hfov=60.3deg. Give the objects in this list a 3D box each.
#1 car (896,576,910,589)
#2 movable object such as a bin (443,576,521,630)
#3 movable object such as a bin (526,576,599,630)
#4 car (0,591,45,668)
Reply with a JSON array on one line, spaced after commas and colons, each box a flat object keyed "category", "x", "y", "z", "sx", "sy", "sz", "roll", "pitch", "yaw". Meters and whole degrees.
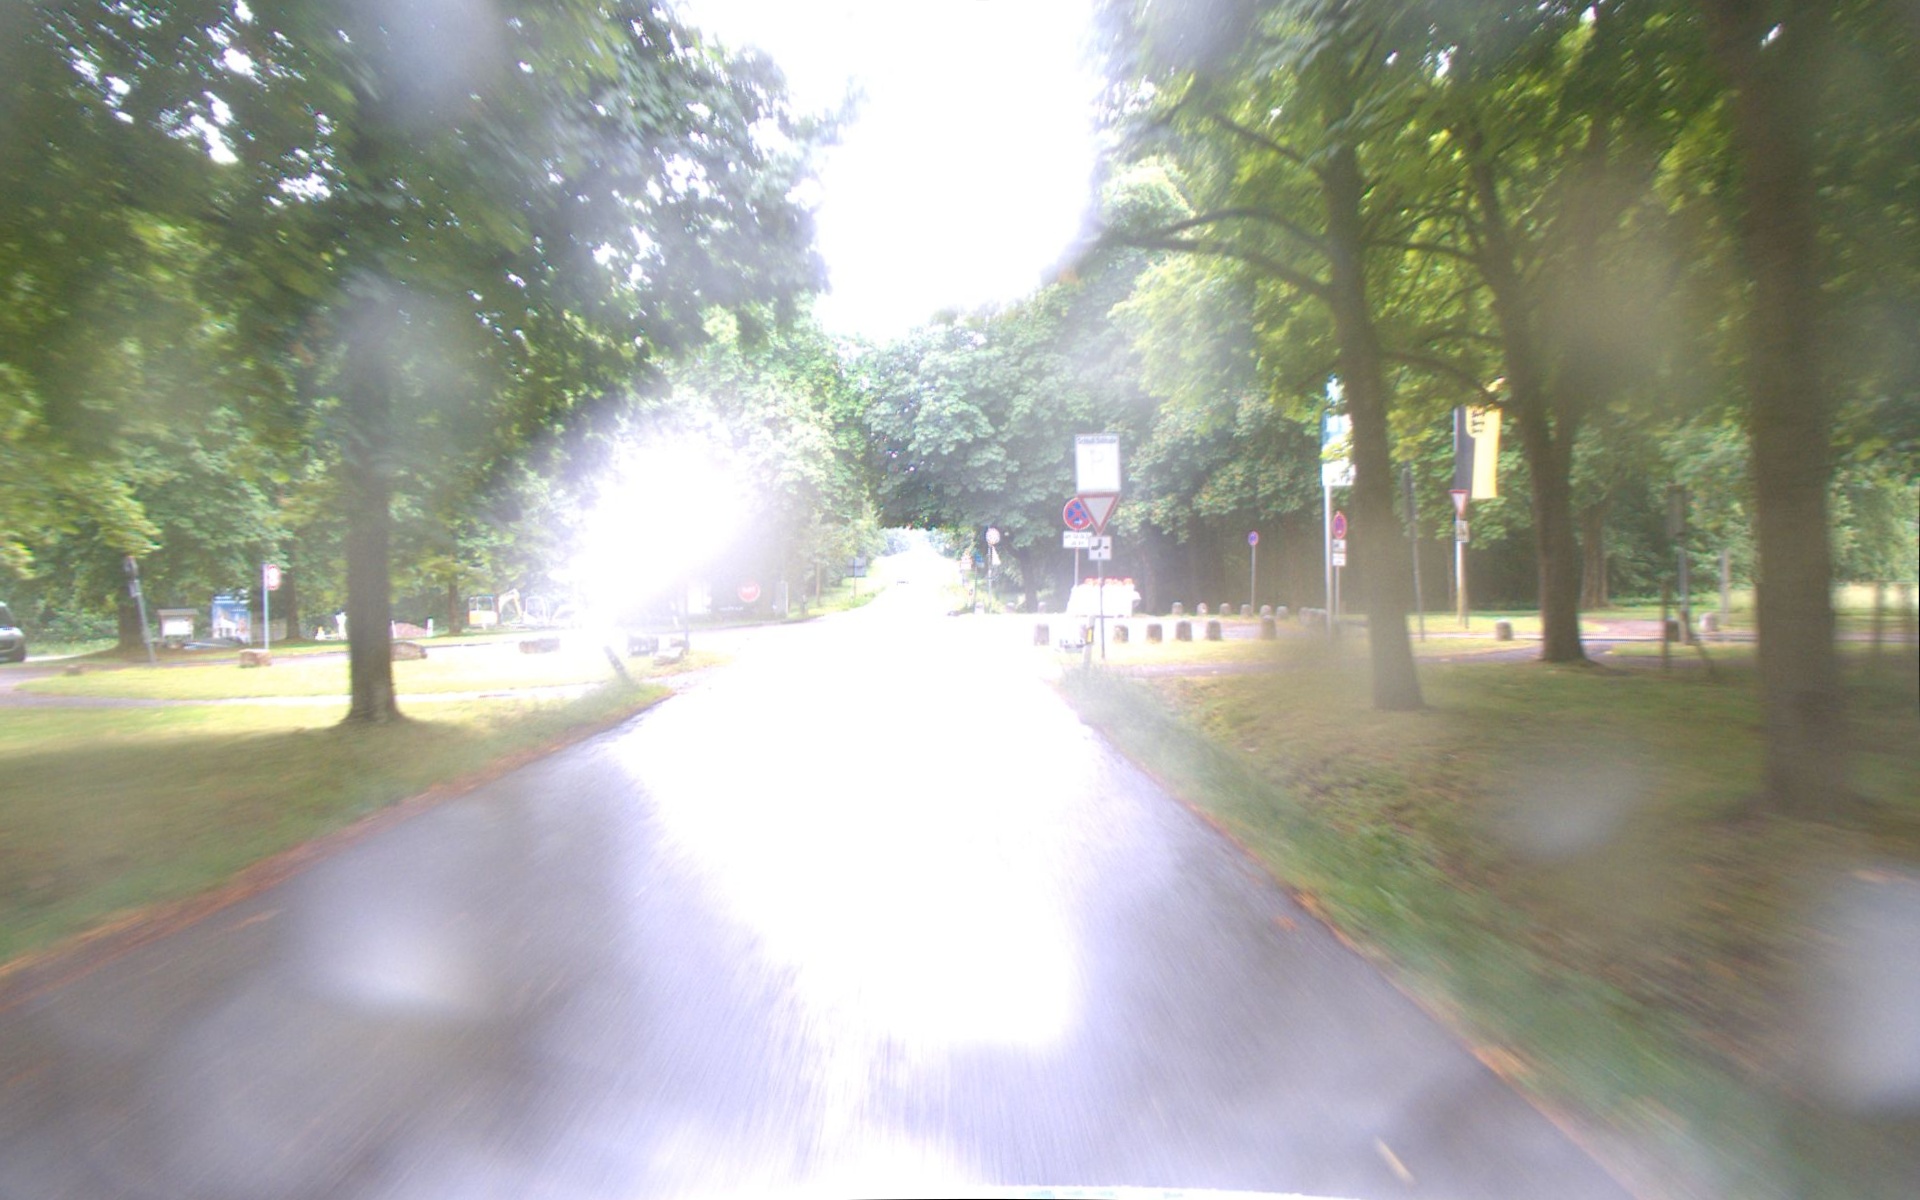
[{"category": "car", "x": -8.325, "y": -2.515, "z": 240.602, "sx": 1.953, "sy": 1.747, "sz": 3.999, "roll": -2, "pitch": 1, "yaw": -1}, {"category": "movable object such as a bin", "x": -31.442, "y": 0.174, "z": 108.960, "sx": 4.574, "sy": 3.351, "sz": 3.901, "roll": -2, "pitch": 0, "yaw": -12}, {"category": "movable object such as a bin", "x": -26.562, "y": 0.181, "z": 110.725, "sx": 4.502, "sy": 3.351, "sz": 3.655, "roll": -2, "pitch": 0, "yaw": -12}, {"category": "car", "x": -32.677, "y": 1.037, "z": 54.668, "sx": 5.873, "sy": 2.450, "sz": 2.380, "roll": -2, "pitch": -1, "yaw": 41}]
